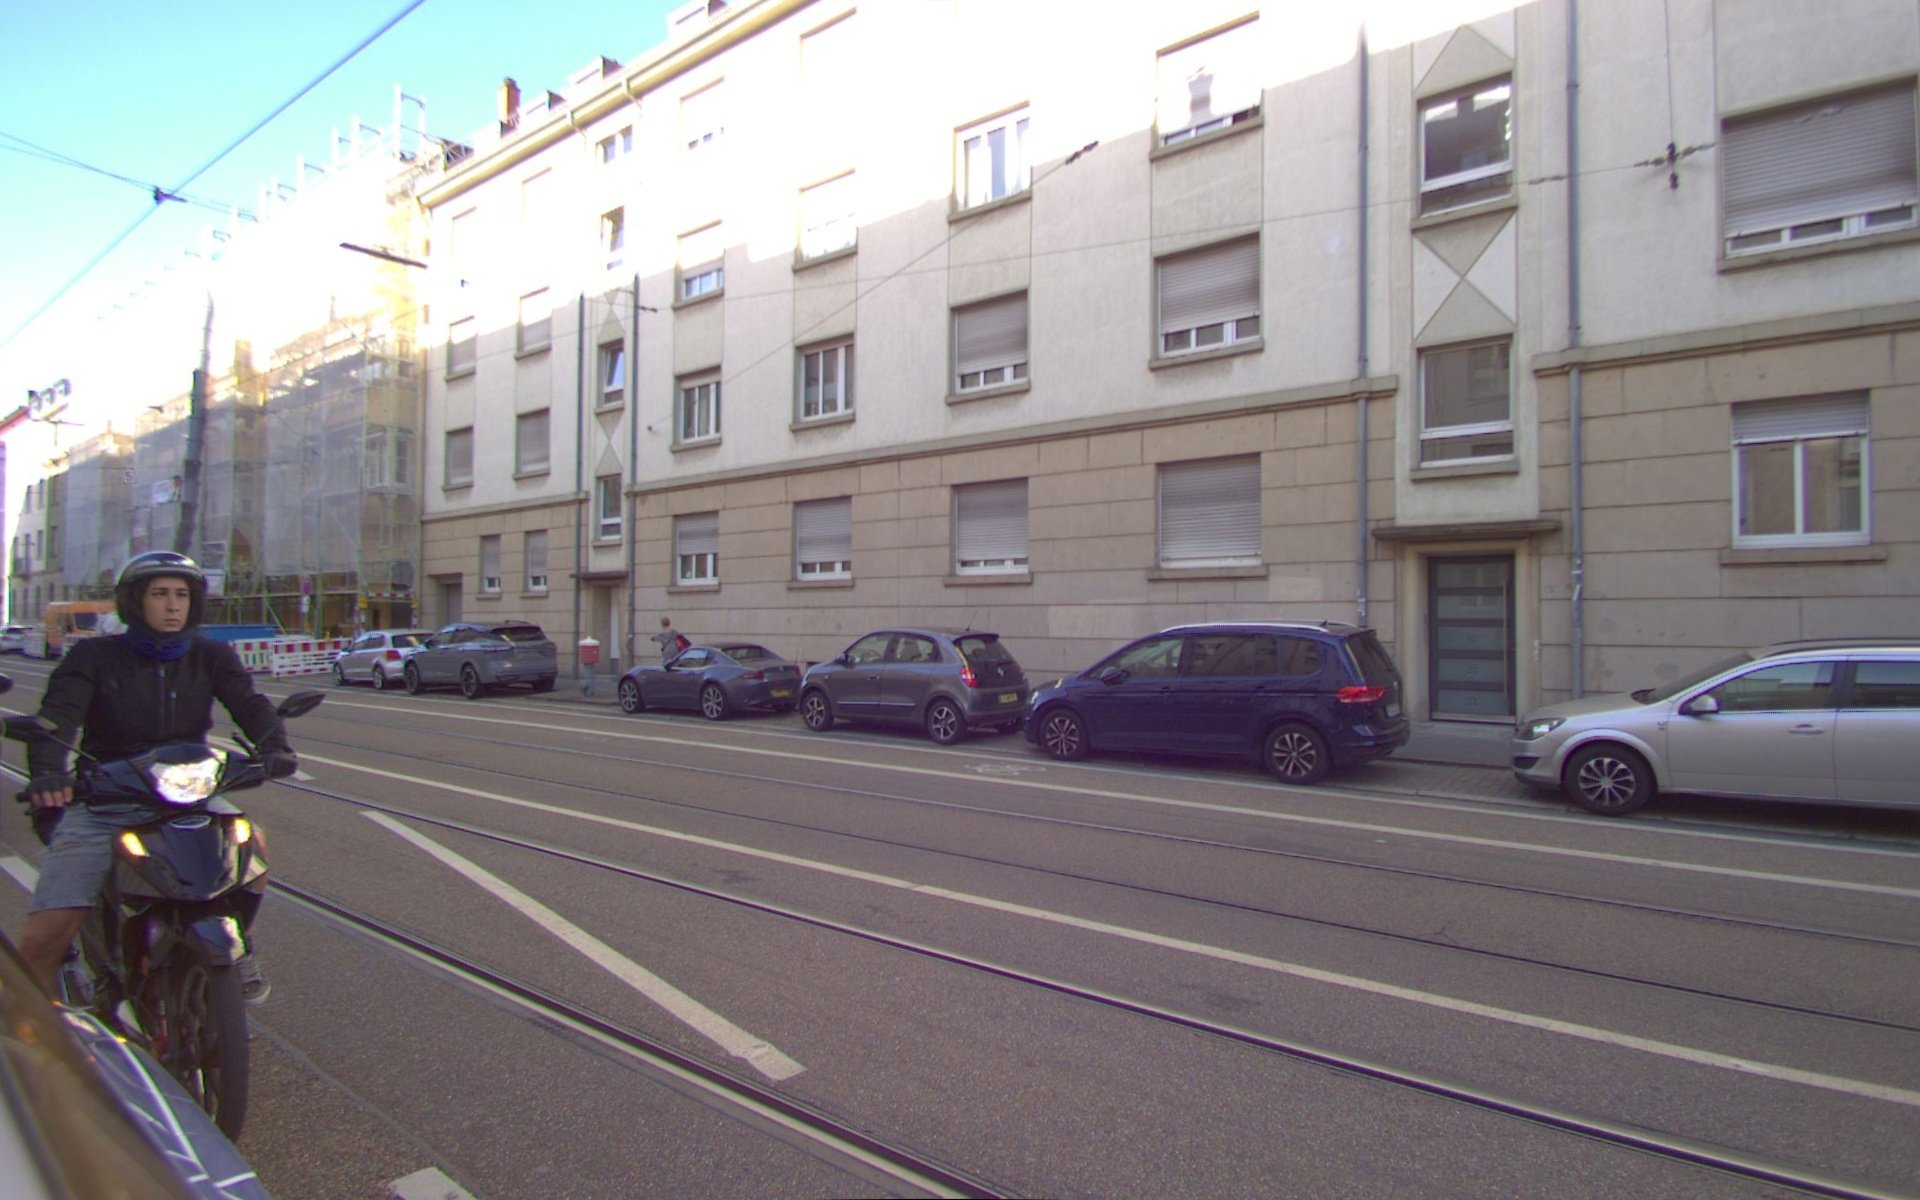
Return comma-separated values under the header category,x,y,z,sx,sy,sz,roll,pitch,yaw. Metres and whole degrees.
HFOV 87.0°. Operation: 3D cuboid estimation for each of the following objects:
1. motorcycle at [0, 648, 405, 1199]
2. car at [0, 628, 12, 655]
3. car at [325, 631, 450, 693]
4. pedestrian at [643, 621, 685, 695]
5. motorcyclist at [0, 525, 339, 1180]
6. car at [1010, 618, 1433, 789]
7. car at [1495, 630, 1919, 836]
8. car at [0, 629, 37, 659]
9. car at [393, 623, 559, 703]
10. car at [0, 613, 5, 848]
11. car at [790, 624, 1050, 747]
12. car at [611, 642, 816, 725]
category,x,y,z,sx,sy,sz,roll,pitch,yaw
motorcycle,-2.649,0.823,3.243,2.272,1.302,0.781,-2,-3,41
car,-54.589,2.334,56.825,3.964,1.498,1.662,-2,-1,42
car,-14.393,1.504,25.403,3.506,1.423,1.524,-1,-1,38
pedestrian,-6.334,1.239,21.677,0.693,1.553,0.563,-2,-3,39
motorcyclist,-2.552,0.661,3.166,0.899,1.668,0.781,-2,-3,41
car,2.883,1.038,11.681,4.383,1.611,1.779,-1,-1,38
car,7.116,1.007,8.507,4.383,1.489,1.779,-1,-1,38
car,-50.074,2.279,53.349,3.964,1.498,1.662,-2,-1,42
car,-10.892,1.340,22.666,4.201,1.611,1.675,-1,-1,38
car,-8.137,0.860,6.976,4.143,1.473,1.664,-2,-1,38
car,-0.638,1.138,14.660,3.535,1.539,1.659,-1,-1,38
car,-4.324,1.372,17.506,3.681,1.244,1.502,-1,-1,38
